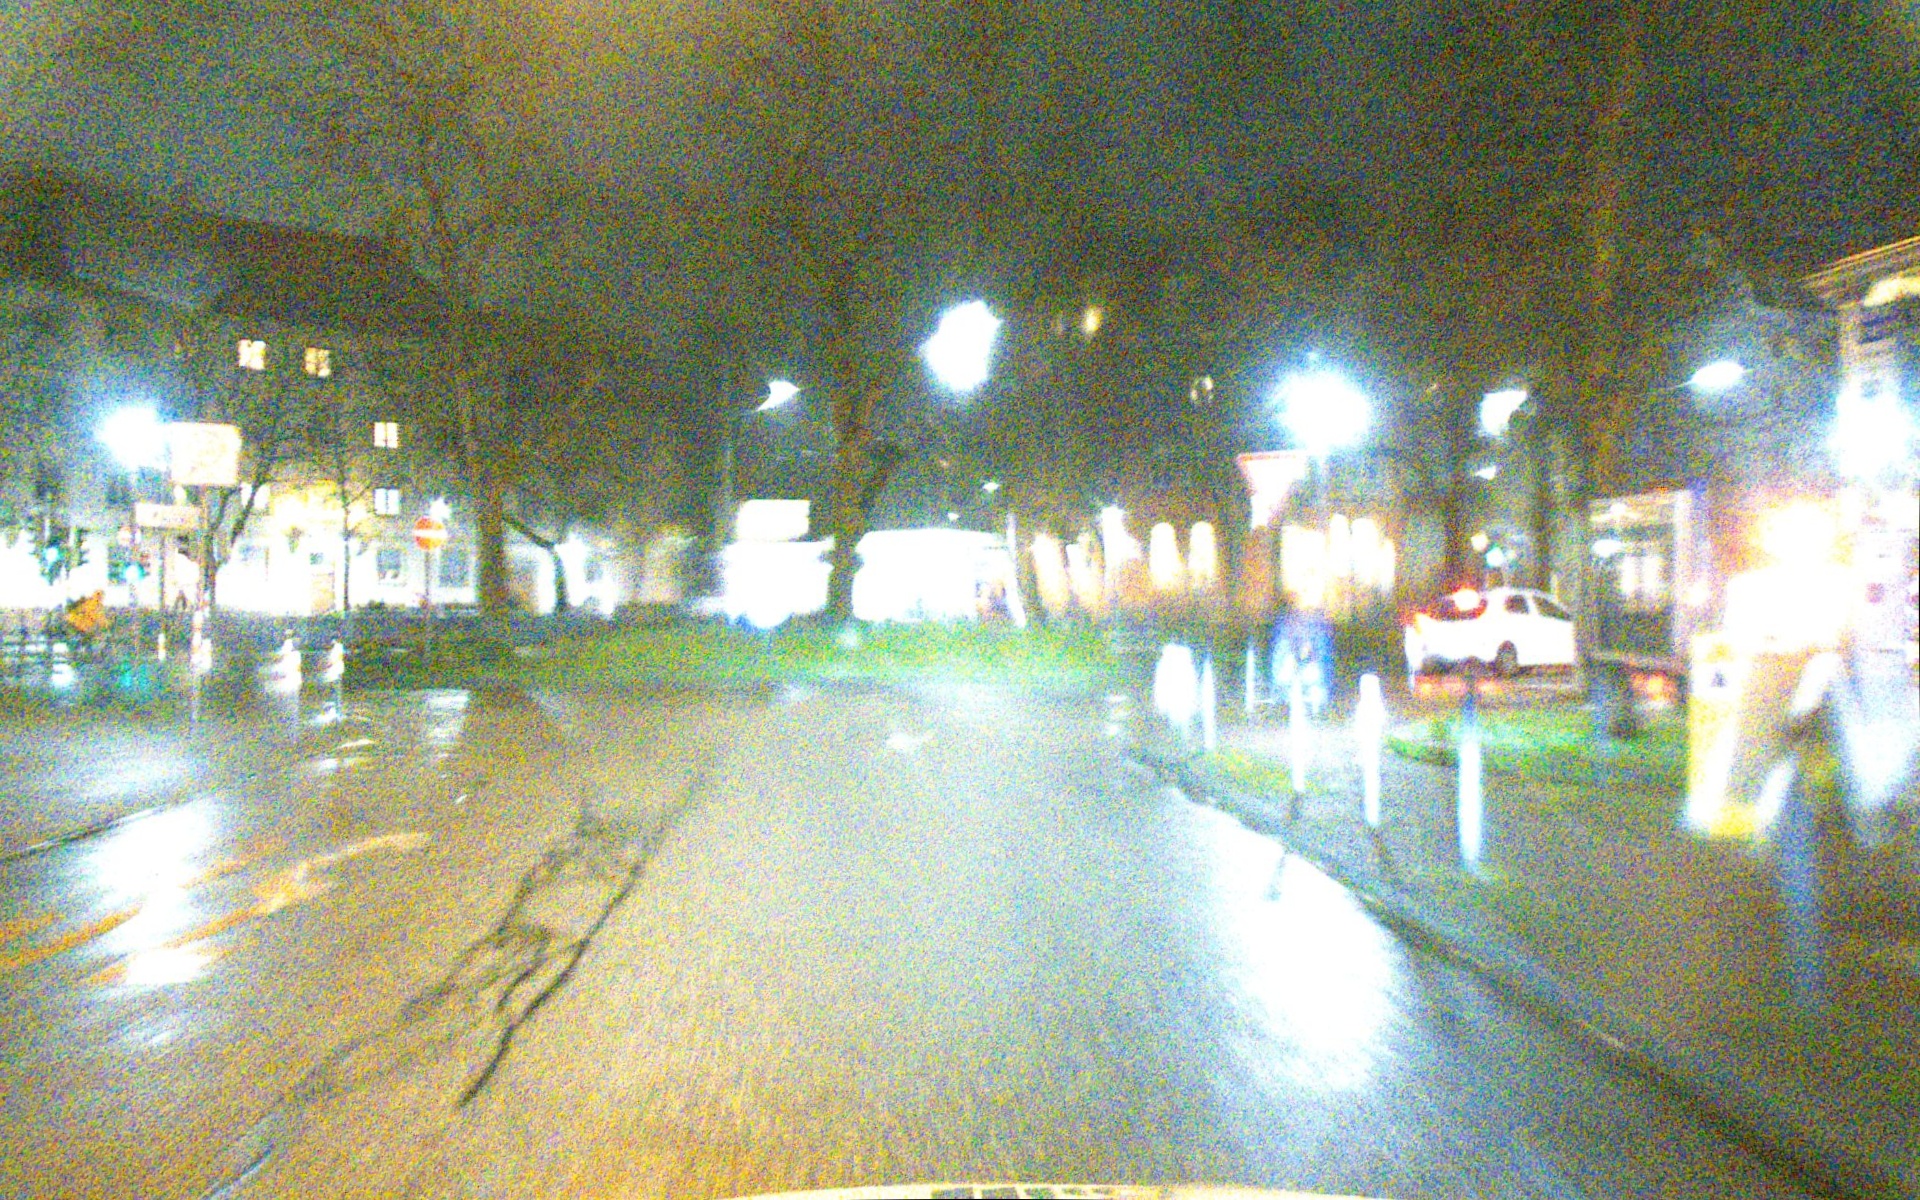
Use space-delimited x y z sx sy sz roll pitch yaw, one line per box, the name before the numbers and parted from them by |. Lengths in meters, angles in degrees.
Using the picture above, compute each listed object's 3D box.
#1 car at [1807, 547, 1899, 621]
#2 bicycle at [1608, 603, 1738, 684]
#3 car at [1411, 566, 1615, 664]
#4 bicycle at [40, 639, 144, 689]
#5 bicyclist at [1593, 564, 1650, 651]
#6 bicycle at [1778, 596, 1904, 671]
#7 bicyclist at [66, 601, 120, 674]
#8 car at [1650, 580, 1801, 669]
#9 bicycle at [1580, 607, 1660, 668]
car | 22.955 -0.373 42.542 1.956 1.758 3.994 1 0 28
bicycle | 9.851 0.584 22.902 0.446 1.078 1.641 -1 0 -37
car | 9.943 0.283 29.705 3.417 1.642 1.717 2 -1 -33
bicycle | -16.960 1.257 32.357 1.757 0.948 0.495 2 -1 -28
bicyclist | 13.183 0.154 32.978 0.701 1.704 0.788 2 -1 -40
bicycle | 13.275 0.493 24.951 0.446 1.078 1.641 -1 0 -37
bicyclist | -16.957 0.738 32.359 0.881 1.404 0.500 2 -1 -27
car | 16.476 0.535 35.507 1.963 1.758 3.978 1 -1 40
bicycle | 13.168 0.757 32.976 1.700 1.169 0.765 2 -1 -40
